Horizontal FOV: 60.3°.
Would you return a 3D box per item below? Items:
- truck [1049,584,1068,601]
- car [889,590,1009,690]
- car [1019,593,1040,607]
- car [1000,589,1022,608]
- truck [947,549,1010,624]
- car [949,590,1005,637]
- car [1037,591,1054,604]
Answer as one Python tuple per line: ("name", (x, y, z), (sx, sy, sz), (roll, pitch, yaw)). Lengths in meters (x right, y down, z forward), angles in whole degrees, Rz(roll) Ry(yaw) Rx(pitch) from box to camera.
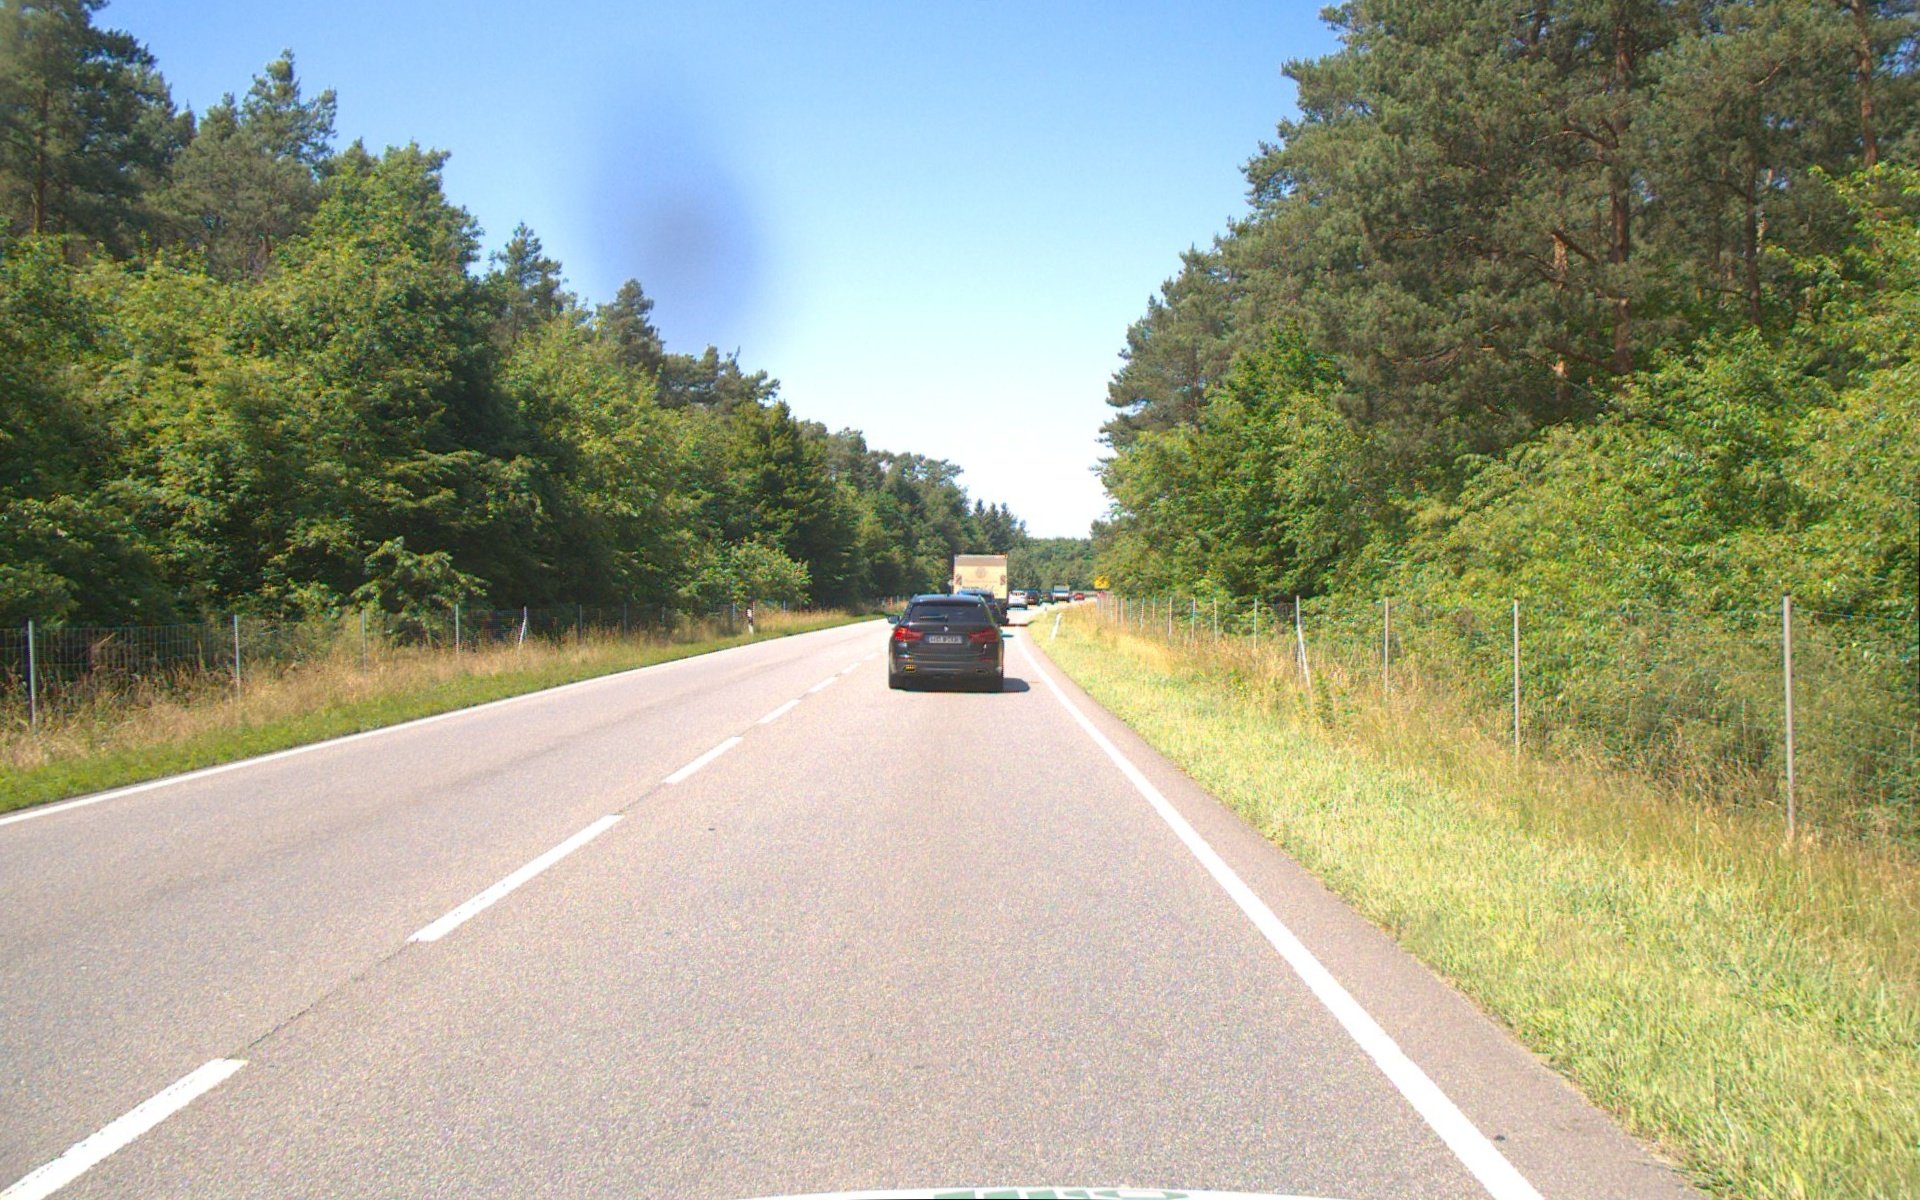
("truck", (13.825, -1.054, 231.197), (2.510, 2.240, 4.977), (-1, 1, 4))
("car", (-0.257, 0.588, 27.029), (1.784, 1.496, 3.998), (0, 0, -3))
("car", (7.477, 0.003, 177.790), (1.953, 1.445, 3.999), (1, 1, -1))
("car", (4.482, -0.129, 145.388), (1.824, 1.633, 4.001), (-1, 0, 2))
("truck", (0.904, -0.672, 79.535), (2.904, 3.447, 6.439), (0, 0, 1))
("car", (0.605, 0.445, 58.999), (1.907, 1.568, 4.000), (-1, 0, 0))
("car", (10.648, -0.318, 206.055), (1.952, 1.665, 4.001), (-1, 0, 2))
